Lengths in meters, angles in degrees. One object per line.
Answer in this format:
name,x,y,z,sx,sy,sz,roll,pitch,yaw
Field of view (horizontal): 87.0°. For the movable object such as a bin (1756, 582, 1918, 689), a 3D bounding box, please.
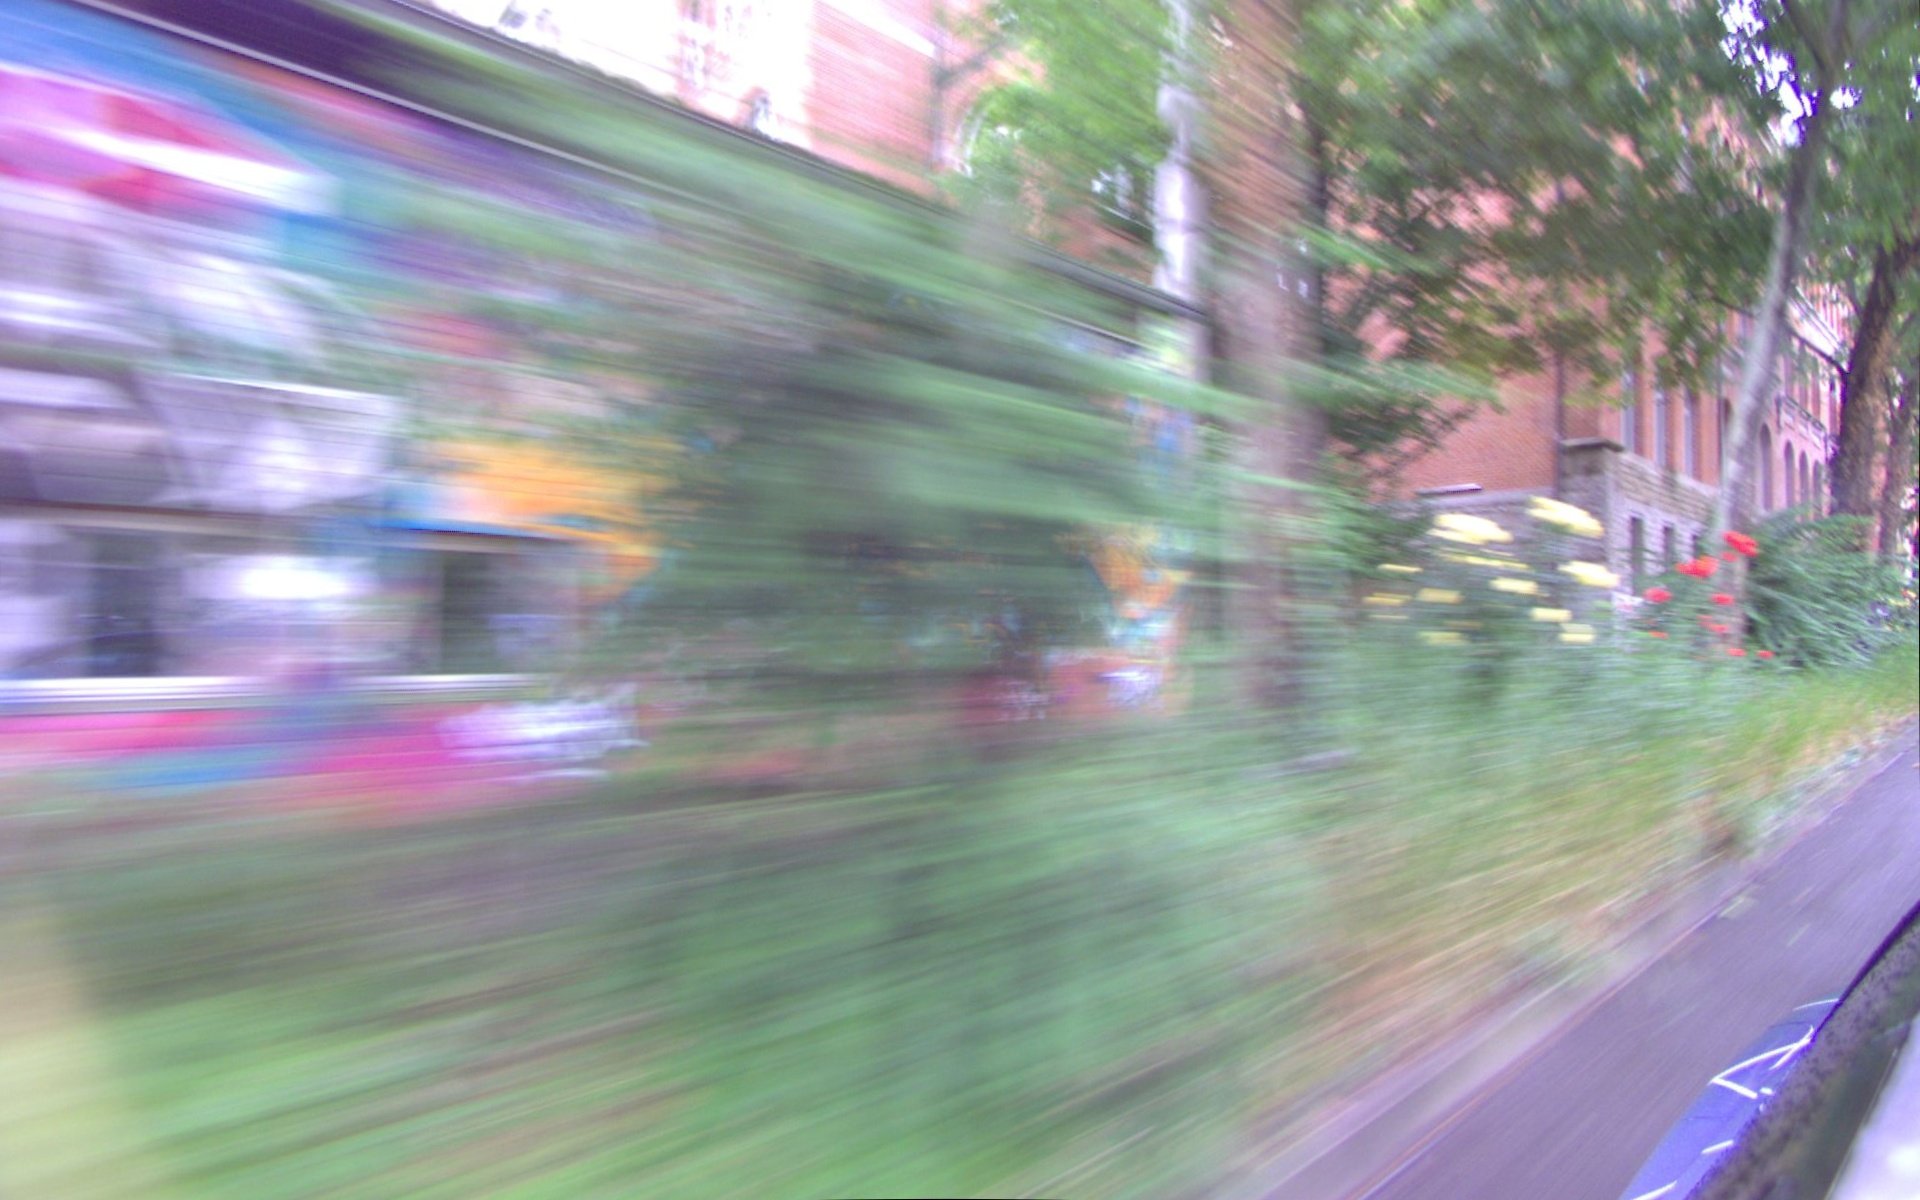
movable object such as a bin,12.932,0.498,14.960,1.191,1.471,1.408,2,1,-25
